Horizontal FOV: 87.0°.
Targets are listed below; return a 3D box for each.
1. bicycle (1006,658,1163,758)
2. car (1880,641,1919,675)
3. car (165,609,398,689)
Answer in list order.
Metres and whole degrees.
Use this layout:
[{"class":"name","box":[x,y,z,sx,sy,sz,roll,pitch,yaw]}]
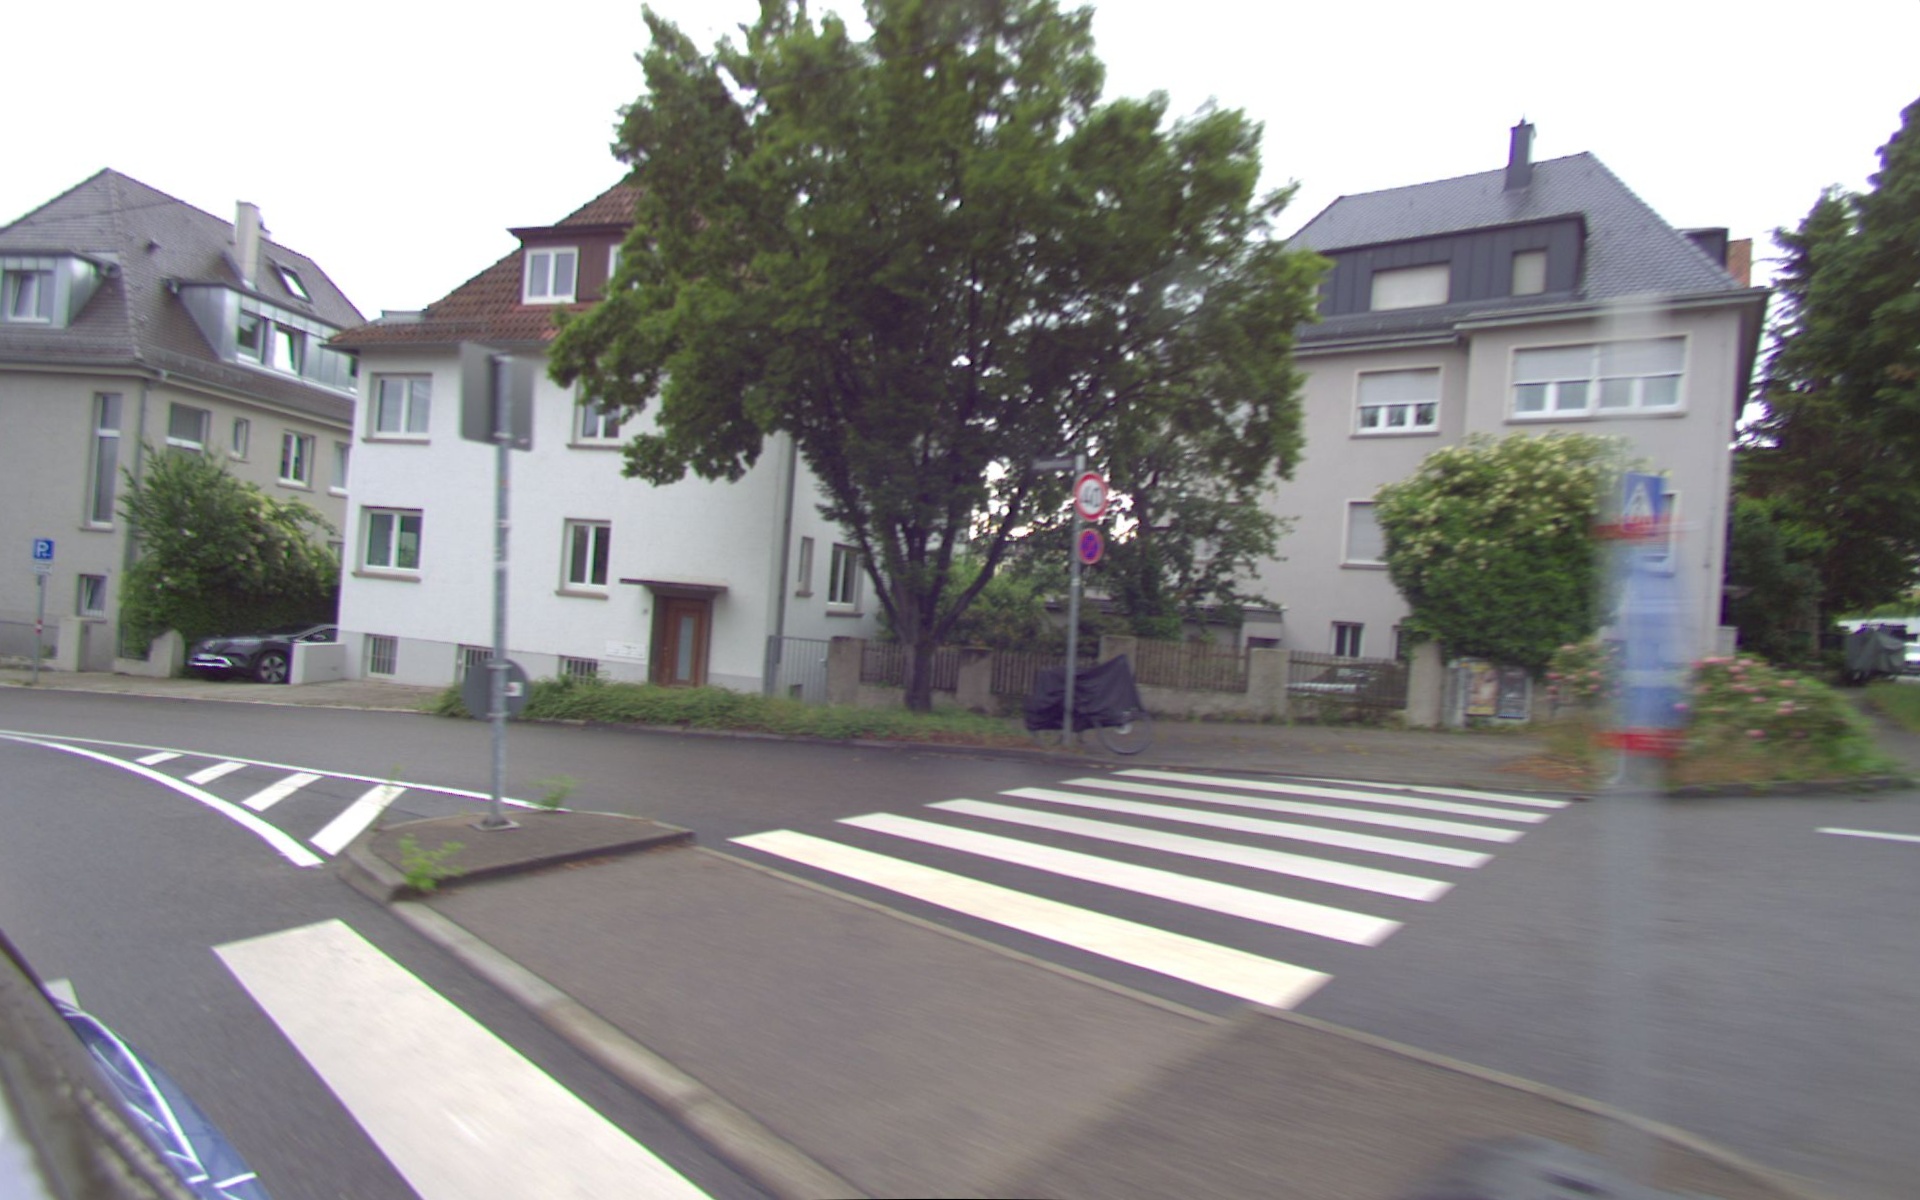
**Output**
[{"class":"bicycle","box":[1.456,1.258,12.149,1.962,1.093,0.416,-3,-3,41]},{"class":"car","box":[41.331,2.513,43.943,1.736,1.374,3.948,0,-2,38]},{"class":"car","box":[-15.730,1.053,23.753,1.984,1.636,4.228,1,0,18]}]
